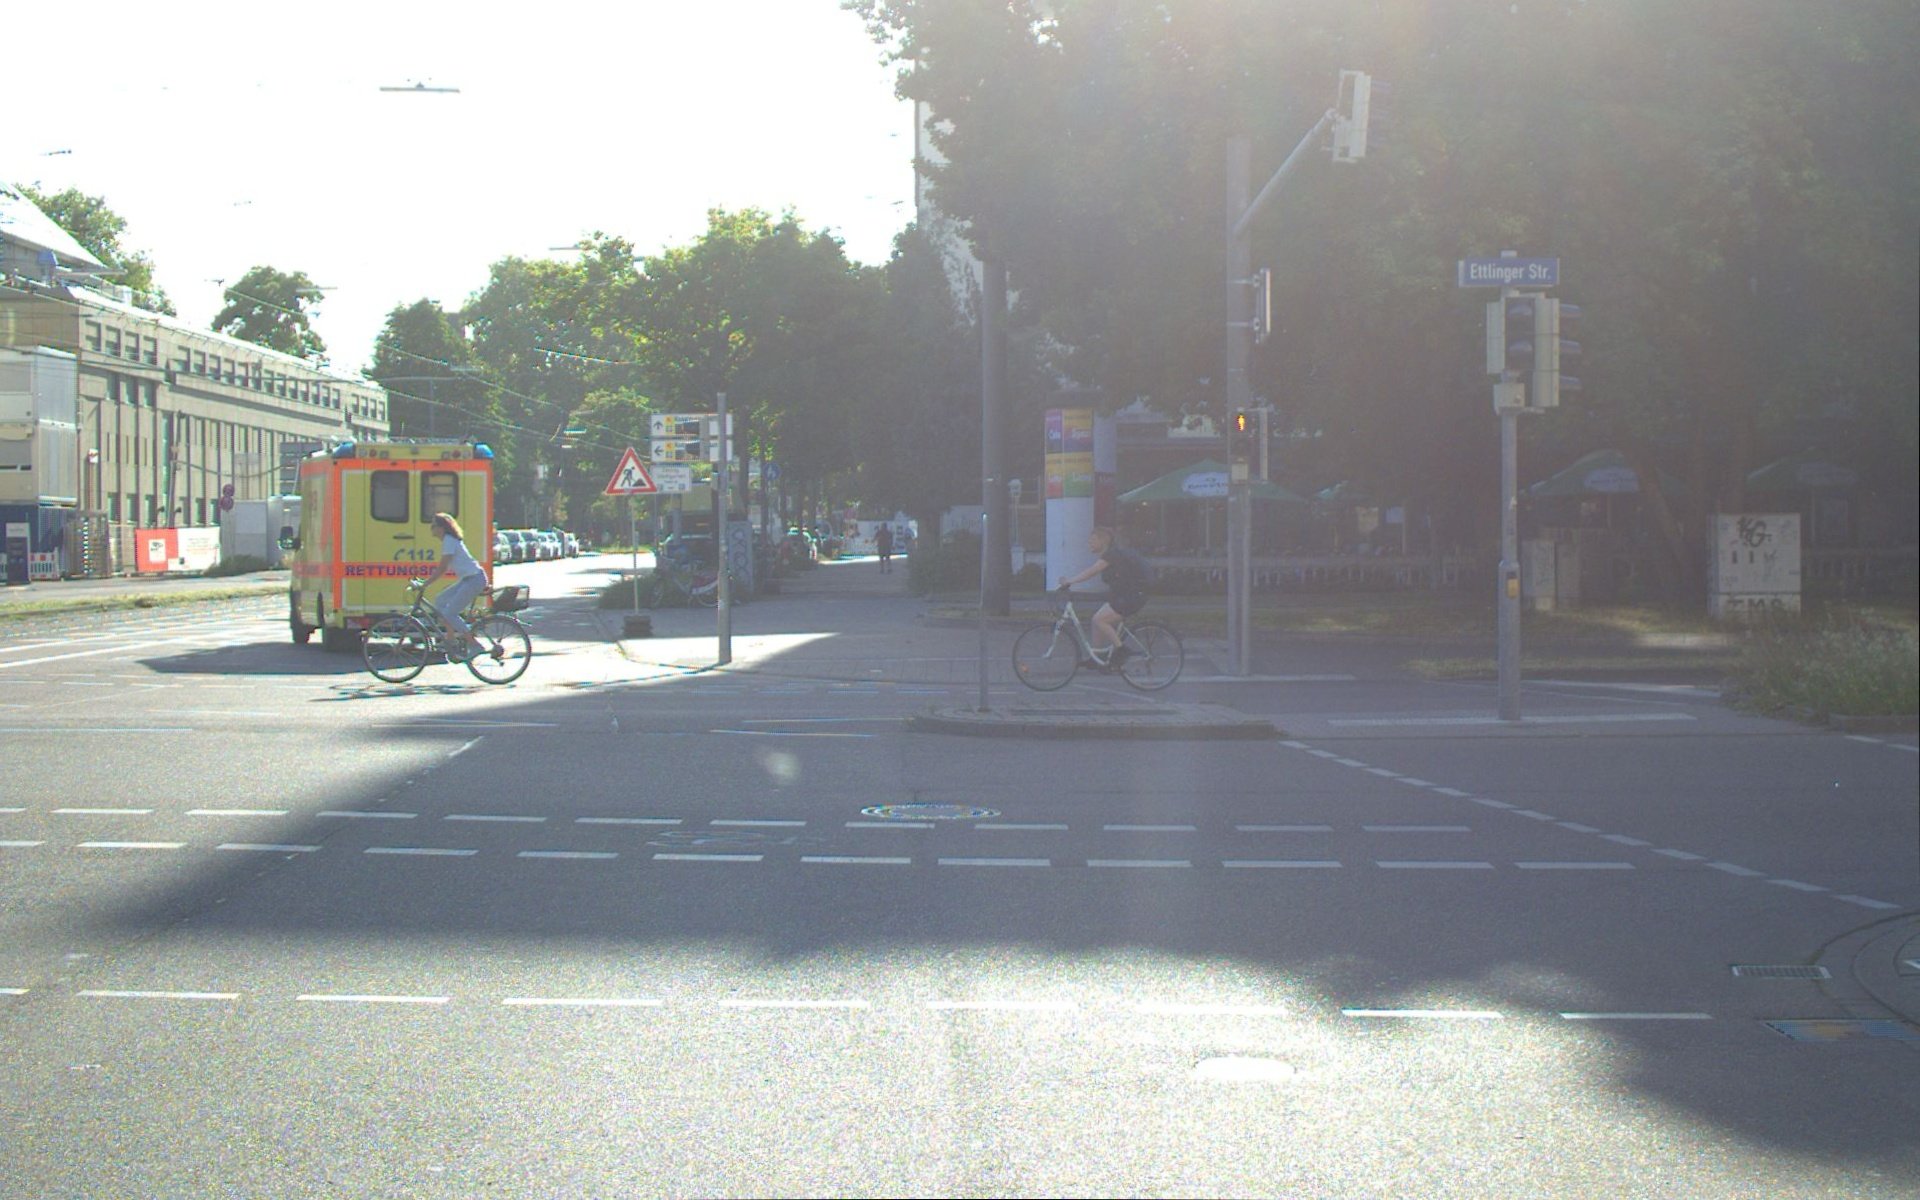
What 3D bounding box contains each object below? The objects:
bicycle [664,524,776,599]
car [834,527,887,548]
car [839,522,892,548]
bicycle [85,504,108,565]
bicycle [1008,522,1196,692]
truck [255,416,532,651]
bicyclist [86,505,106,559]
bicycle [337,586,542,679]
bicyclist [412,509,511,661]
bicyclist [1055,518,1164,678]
[{"bbox_3d":[-5.672,-0.916,81.328,2.547,1.737,1.037,1,0,0],"label":"bicycle"},{"bbox_3d":[-6.126,-3.843,211.230,3.217,1.259,1.373,1,0,-1],"label":"car"},{"bbox_3d":[-5.878,-4.022,213.396,3.214,1.583,1.446,1,0,-4],"label":"car"},{"bbox_3d":[-32.722,-2.479,130.282,0.571,2.288,1.422,0,1,-2],"label":"bicycle"},{"bbox_3d":[1.466,0.063,35.677,1.897,1.729,0.597,0,1,-2],"label":"bicycle"},{"bbox_3d":[-7.938,-0.911,47.534,2.715,3.005,6.491,0,1,-19],"label":"truck"},{"bbox_3d":[-32.725,-2.572,130.214,0.571,2.017,0.762,0,1,-2],"label":"bicyclist"},{"bbox_3d":[-5.393,0.330,35.718,2.064,0.930,0.575,-1,1,-5],"label":"bicycle"},{"bbox_3d":[-5.175,-0.161,35.726,0.974,1.555,0.575,-1,1,-5],"label":"bicyclist"},{"bbox_3d":[1.545,-0.023,35.671,1.074,1.635,0.597,0,1,-2],"label":"bicyclist"}]
